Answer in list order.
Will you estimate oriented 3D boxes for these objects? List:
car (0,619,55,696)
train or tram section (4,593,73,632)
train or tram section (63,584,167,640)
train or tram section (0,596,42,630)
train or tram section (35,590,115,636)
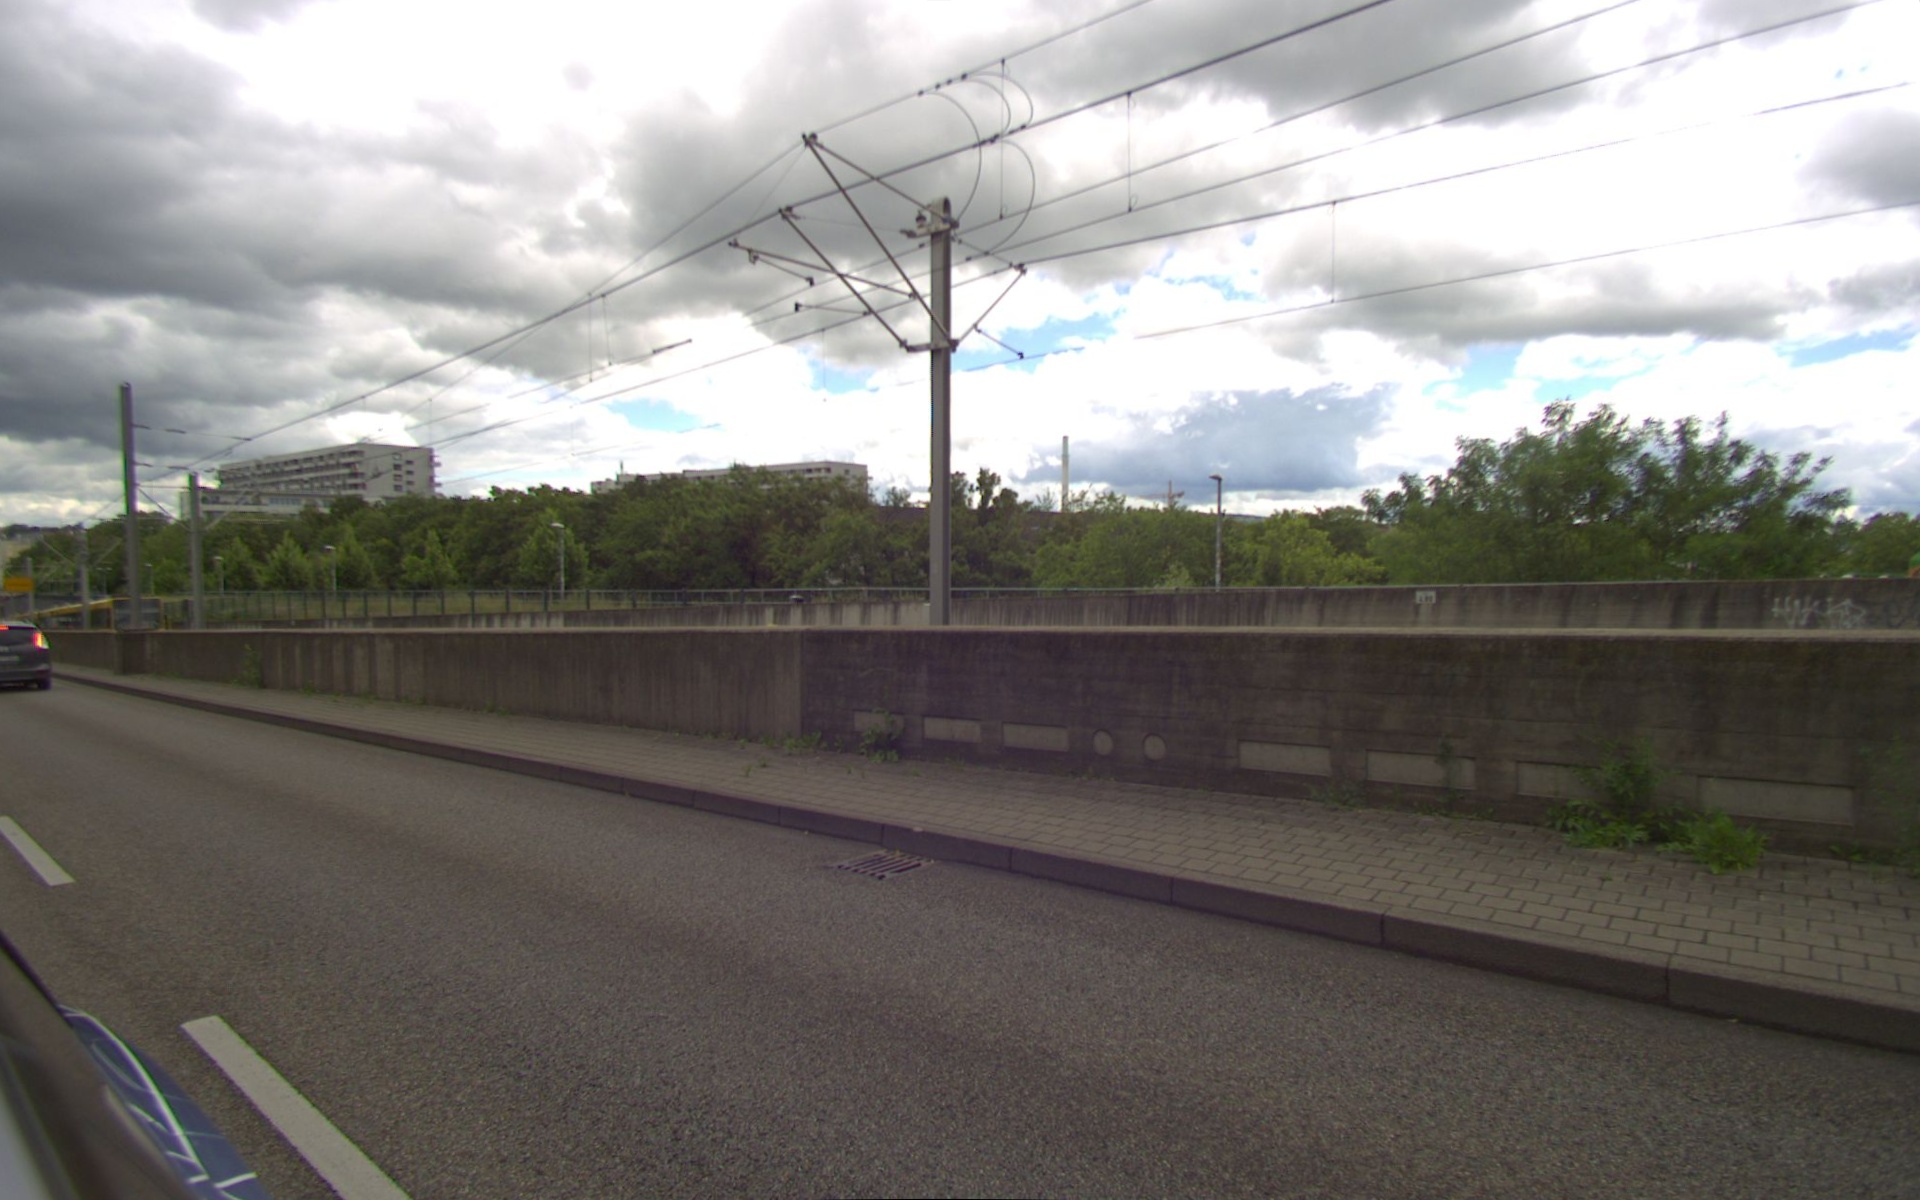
[{"bbox_3d":[-22.582,1.311,23.494,4.243,1.670,1.804,-2,0,41],"label":"car"},{"bbox_3d":[-83.865,1.168,91.857,19.911,3.239,2.706,-1,1,42],"label":"train or tram section"},{"bbox_3d":[-54.428,0.773,64.860,18.473,3.217,2.751,-1,0,43],"label":"train or tram section"},{"bbox_3d":[-97.733,1.373,104.480,17.563,3.215,2.682,-1,1,42],"label":"train or tram section"},{"bbox_3d":[-67.932,0.997,77.433,18.474,3.217,2.751,-1,0,43],"label":"train or tram section"}]
